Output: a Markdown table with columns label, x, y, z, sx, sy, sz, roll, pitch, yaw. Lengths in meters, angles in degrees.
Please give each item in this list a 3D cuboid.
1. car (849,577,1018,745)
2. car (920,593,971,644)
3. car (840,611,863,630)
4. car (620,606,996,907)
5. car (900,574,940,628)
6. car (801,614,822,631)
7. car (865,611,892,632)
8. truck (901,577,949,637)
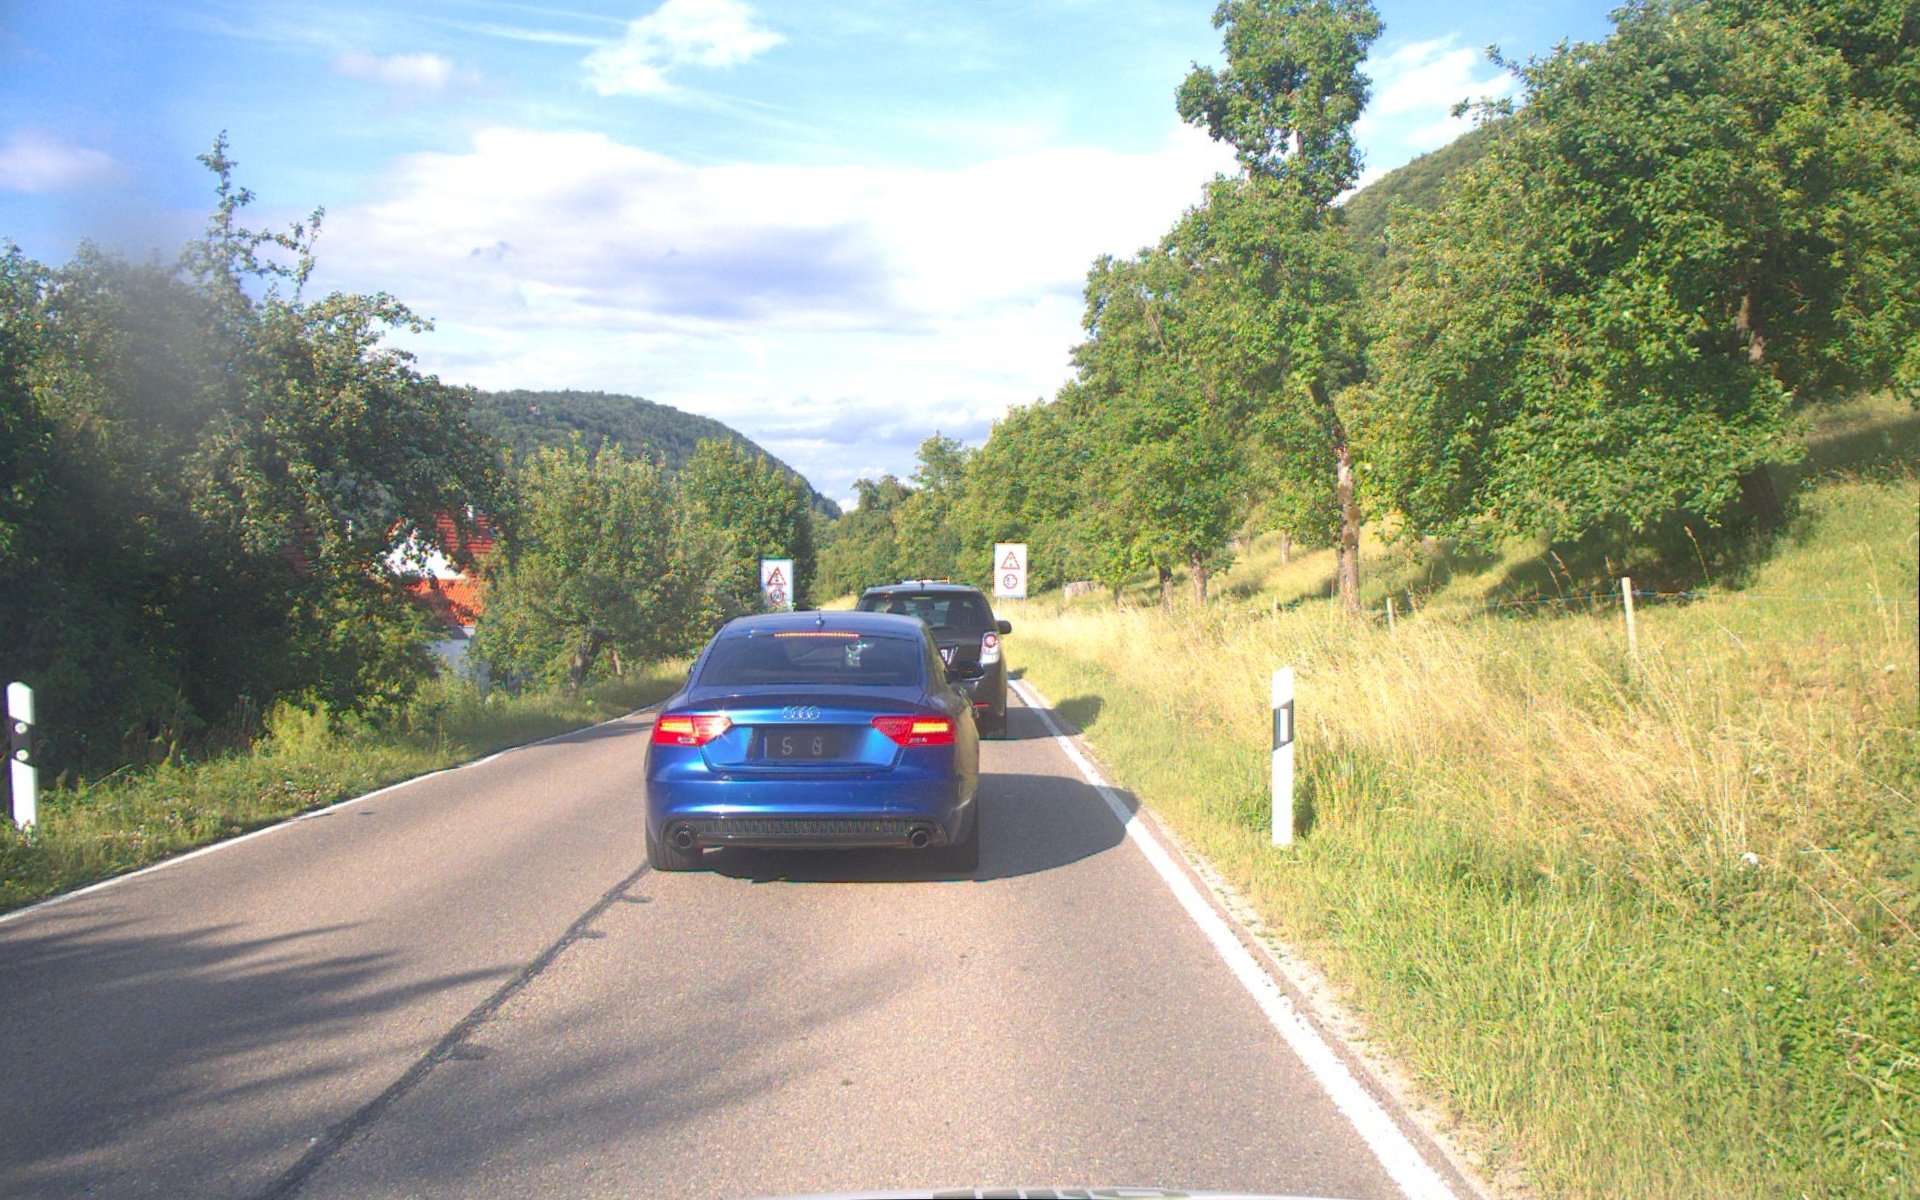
| label | x | y | z | sx | sy | sz | roll | pitch | yaw |
| --- | --- | --- | --- | --- | --- | --- | --- | --- | --- |
| car | -0.292 | 0.598 | 18.245 | 1.658 | 1.652 | 3.788 | 0 | 0 | -1 |
| car | -0.516 | 0.610 | 55.756 | 1.658 | 1.652 | 3.788 | 0 | 0 | -1 |
| car | -9.193 | 1.760 | 140.082 | 1.530 | 1.522 | 3.770 | 2 | 0 | -9 |
| car | -0.733 | 0.744 | 9.915 | 1.769 | 1.406 | 4.214 | 0 | 0 | -1 |
| car | -1.974 | 0.044 | 80.399 | 1.757 | 2.496 | 3.916 | 2 | 0 | -4 |
| car | -14.932 | 2.257 | 166.434 | 1.532 | 1.522 | 3.765 | 2 | 0 | -13 |
| car | -6.170 | 1.624 | 125.199 | 1.715 | 1.522 | 3.771 | 2 | 0 | -8 |
| truck | -1.523 | 0.292 | 70.579 | 1.910 | 2.386 | 5.092 | 2 | 0 | -2 |
